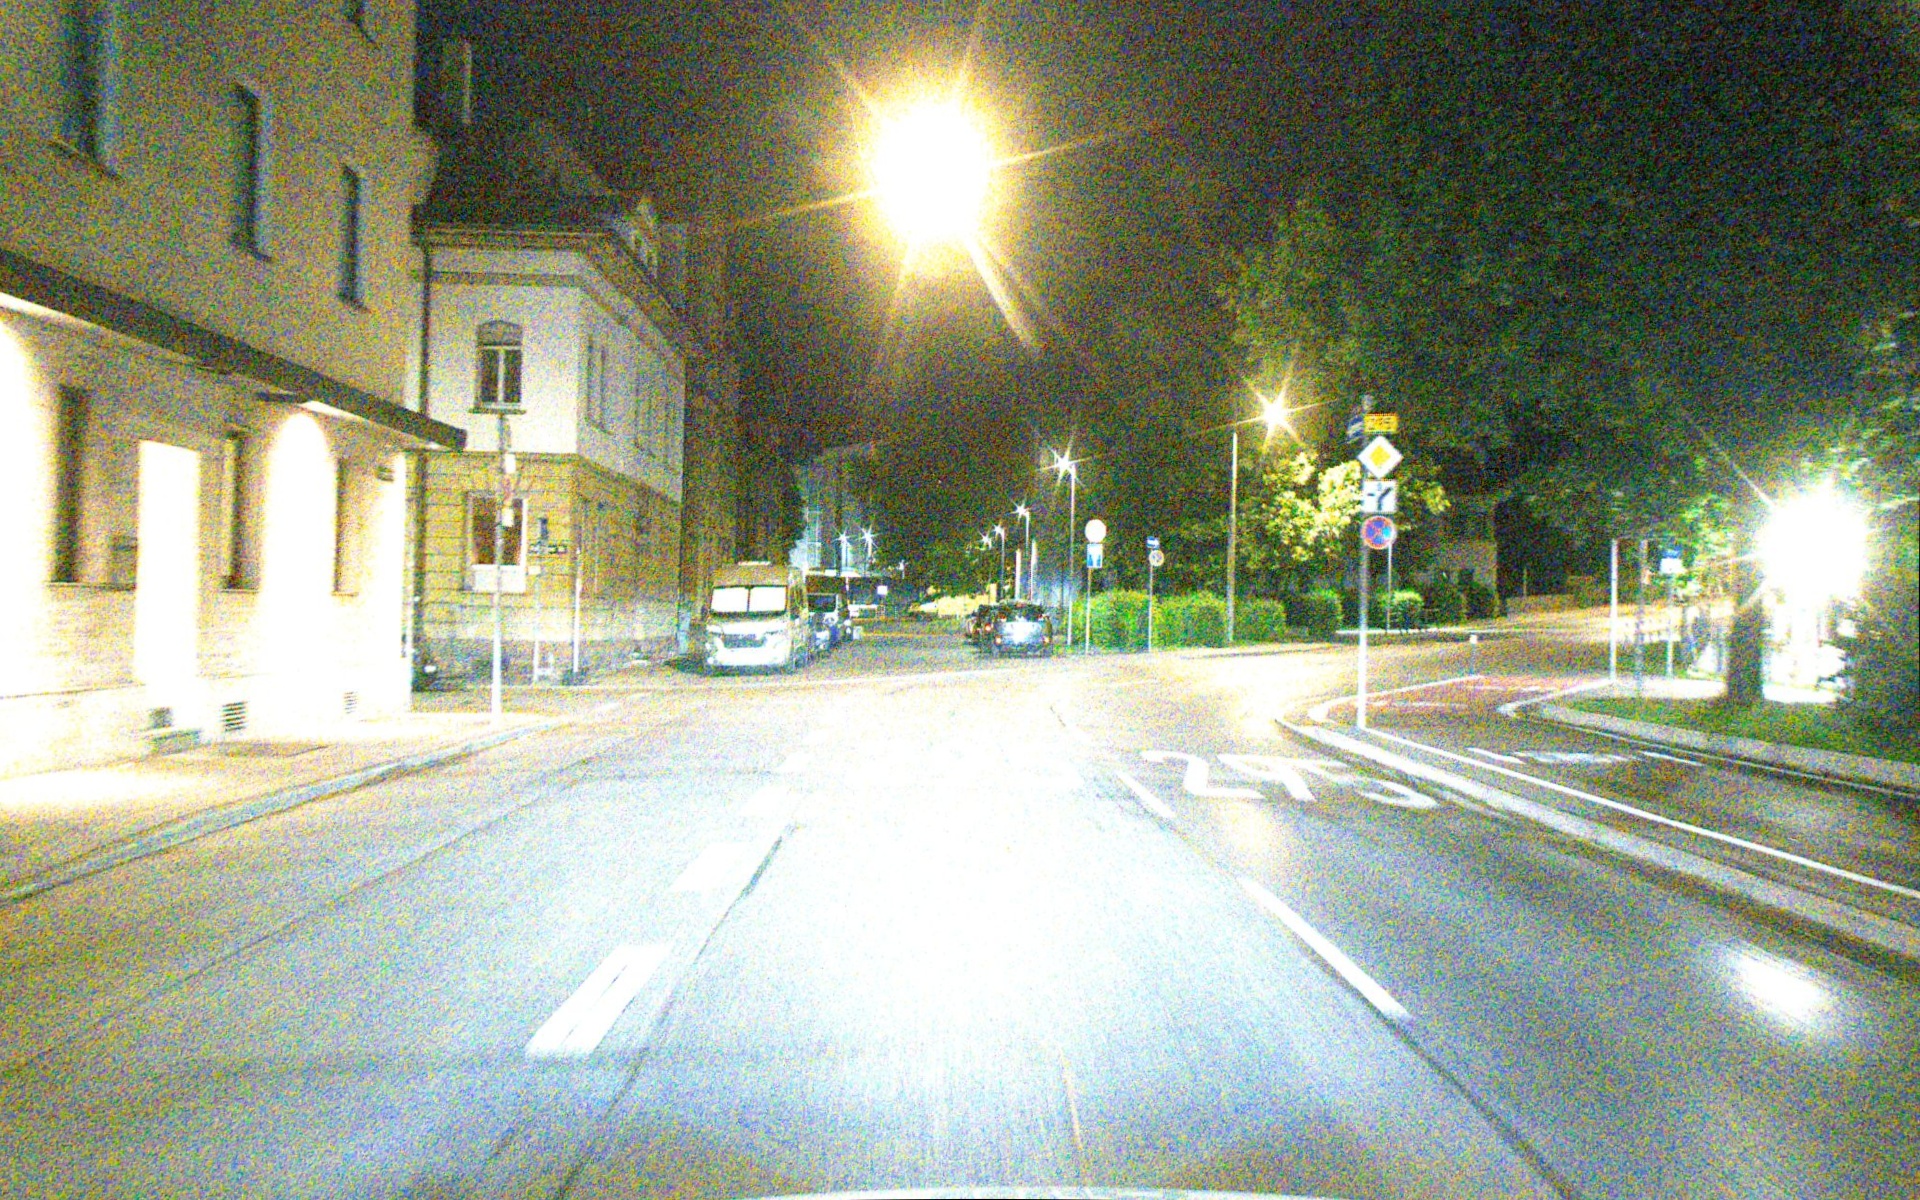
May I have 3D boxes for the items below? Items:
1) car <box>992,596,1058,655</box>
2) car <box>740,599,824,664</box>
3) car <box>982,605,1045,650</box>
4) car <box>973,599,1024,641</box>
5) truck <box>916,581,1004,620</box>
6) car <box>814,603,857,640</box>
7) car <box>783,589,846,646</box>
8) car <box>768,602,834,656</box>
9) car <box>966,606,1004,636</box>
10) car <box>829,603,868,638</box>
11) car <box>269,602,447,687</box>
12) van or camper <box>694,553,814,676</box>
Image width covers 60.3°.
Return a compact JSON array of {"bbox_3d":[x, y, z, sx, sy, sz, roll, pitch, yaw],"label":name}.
[{"bbox_3d":[1.906,0.751,49.508,1.845,1.631,4.107,-1,-1,1],"label":"car"},{"bbox_3d":[-4.718,0.803,44.384,1.853,1.618,4.373,-1,0,-1],"label":"car"},{"bbox_3d":[1.731,0.907,54.741,1.923,1.407,3.999,0,-1,-1],"label":"car"},{"bbox_3d":[1.653,0.870,72.614,1.998,1.724,4.881,-2,-1,-1],"label":"car"},{"bbox_3d":[-0.022,0.055,127.009,6.642,2.894,1.998,1,0,-4],"label":"truck"},{"bbox_3d":[-5.401,0.955,72.295,1.670,1.536,4.098,1,-1,-2],"label":"car"},{"bbox_3d":[-5.230,0.627,59.981,1.953,1.989,4.804,0,0,-1],"label":"car"},{"bbox_3d":[-4.829,0.849,49.812,1.804,1.533,4.734,0,0,-8],"label":"car"},{"bbox_3d":[1.237,1.054,83.594,1.722,1.470,4.024,0,0,-2],"label":"car"},{"bbox_3d":[-5.269,0.971,78.245,1.643,1.594,4.103,0,-1,-1],"label":"car"},{"bbox_3d":[-11.167,0.822,30.796,2.752,1.540,1.489,0,-1,-1],"label":"car"},{"bbox_3d":[-4.718,0.329,38.841,2.114,2.580,6.224,-2,0,-1],"label":"van or camper"}]
